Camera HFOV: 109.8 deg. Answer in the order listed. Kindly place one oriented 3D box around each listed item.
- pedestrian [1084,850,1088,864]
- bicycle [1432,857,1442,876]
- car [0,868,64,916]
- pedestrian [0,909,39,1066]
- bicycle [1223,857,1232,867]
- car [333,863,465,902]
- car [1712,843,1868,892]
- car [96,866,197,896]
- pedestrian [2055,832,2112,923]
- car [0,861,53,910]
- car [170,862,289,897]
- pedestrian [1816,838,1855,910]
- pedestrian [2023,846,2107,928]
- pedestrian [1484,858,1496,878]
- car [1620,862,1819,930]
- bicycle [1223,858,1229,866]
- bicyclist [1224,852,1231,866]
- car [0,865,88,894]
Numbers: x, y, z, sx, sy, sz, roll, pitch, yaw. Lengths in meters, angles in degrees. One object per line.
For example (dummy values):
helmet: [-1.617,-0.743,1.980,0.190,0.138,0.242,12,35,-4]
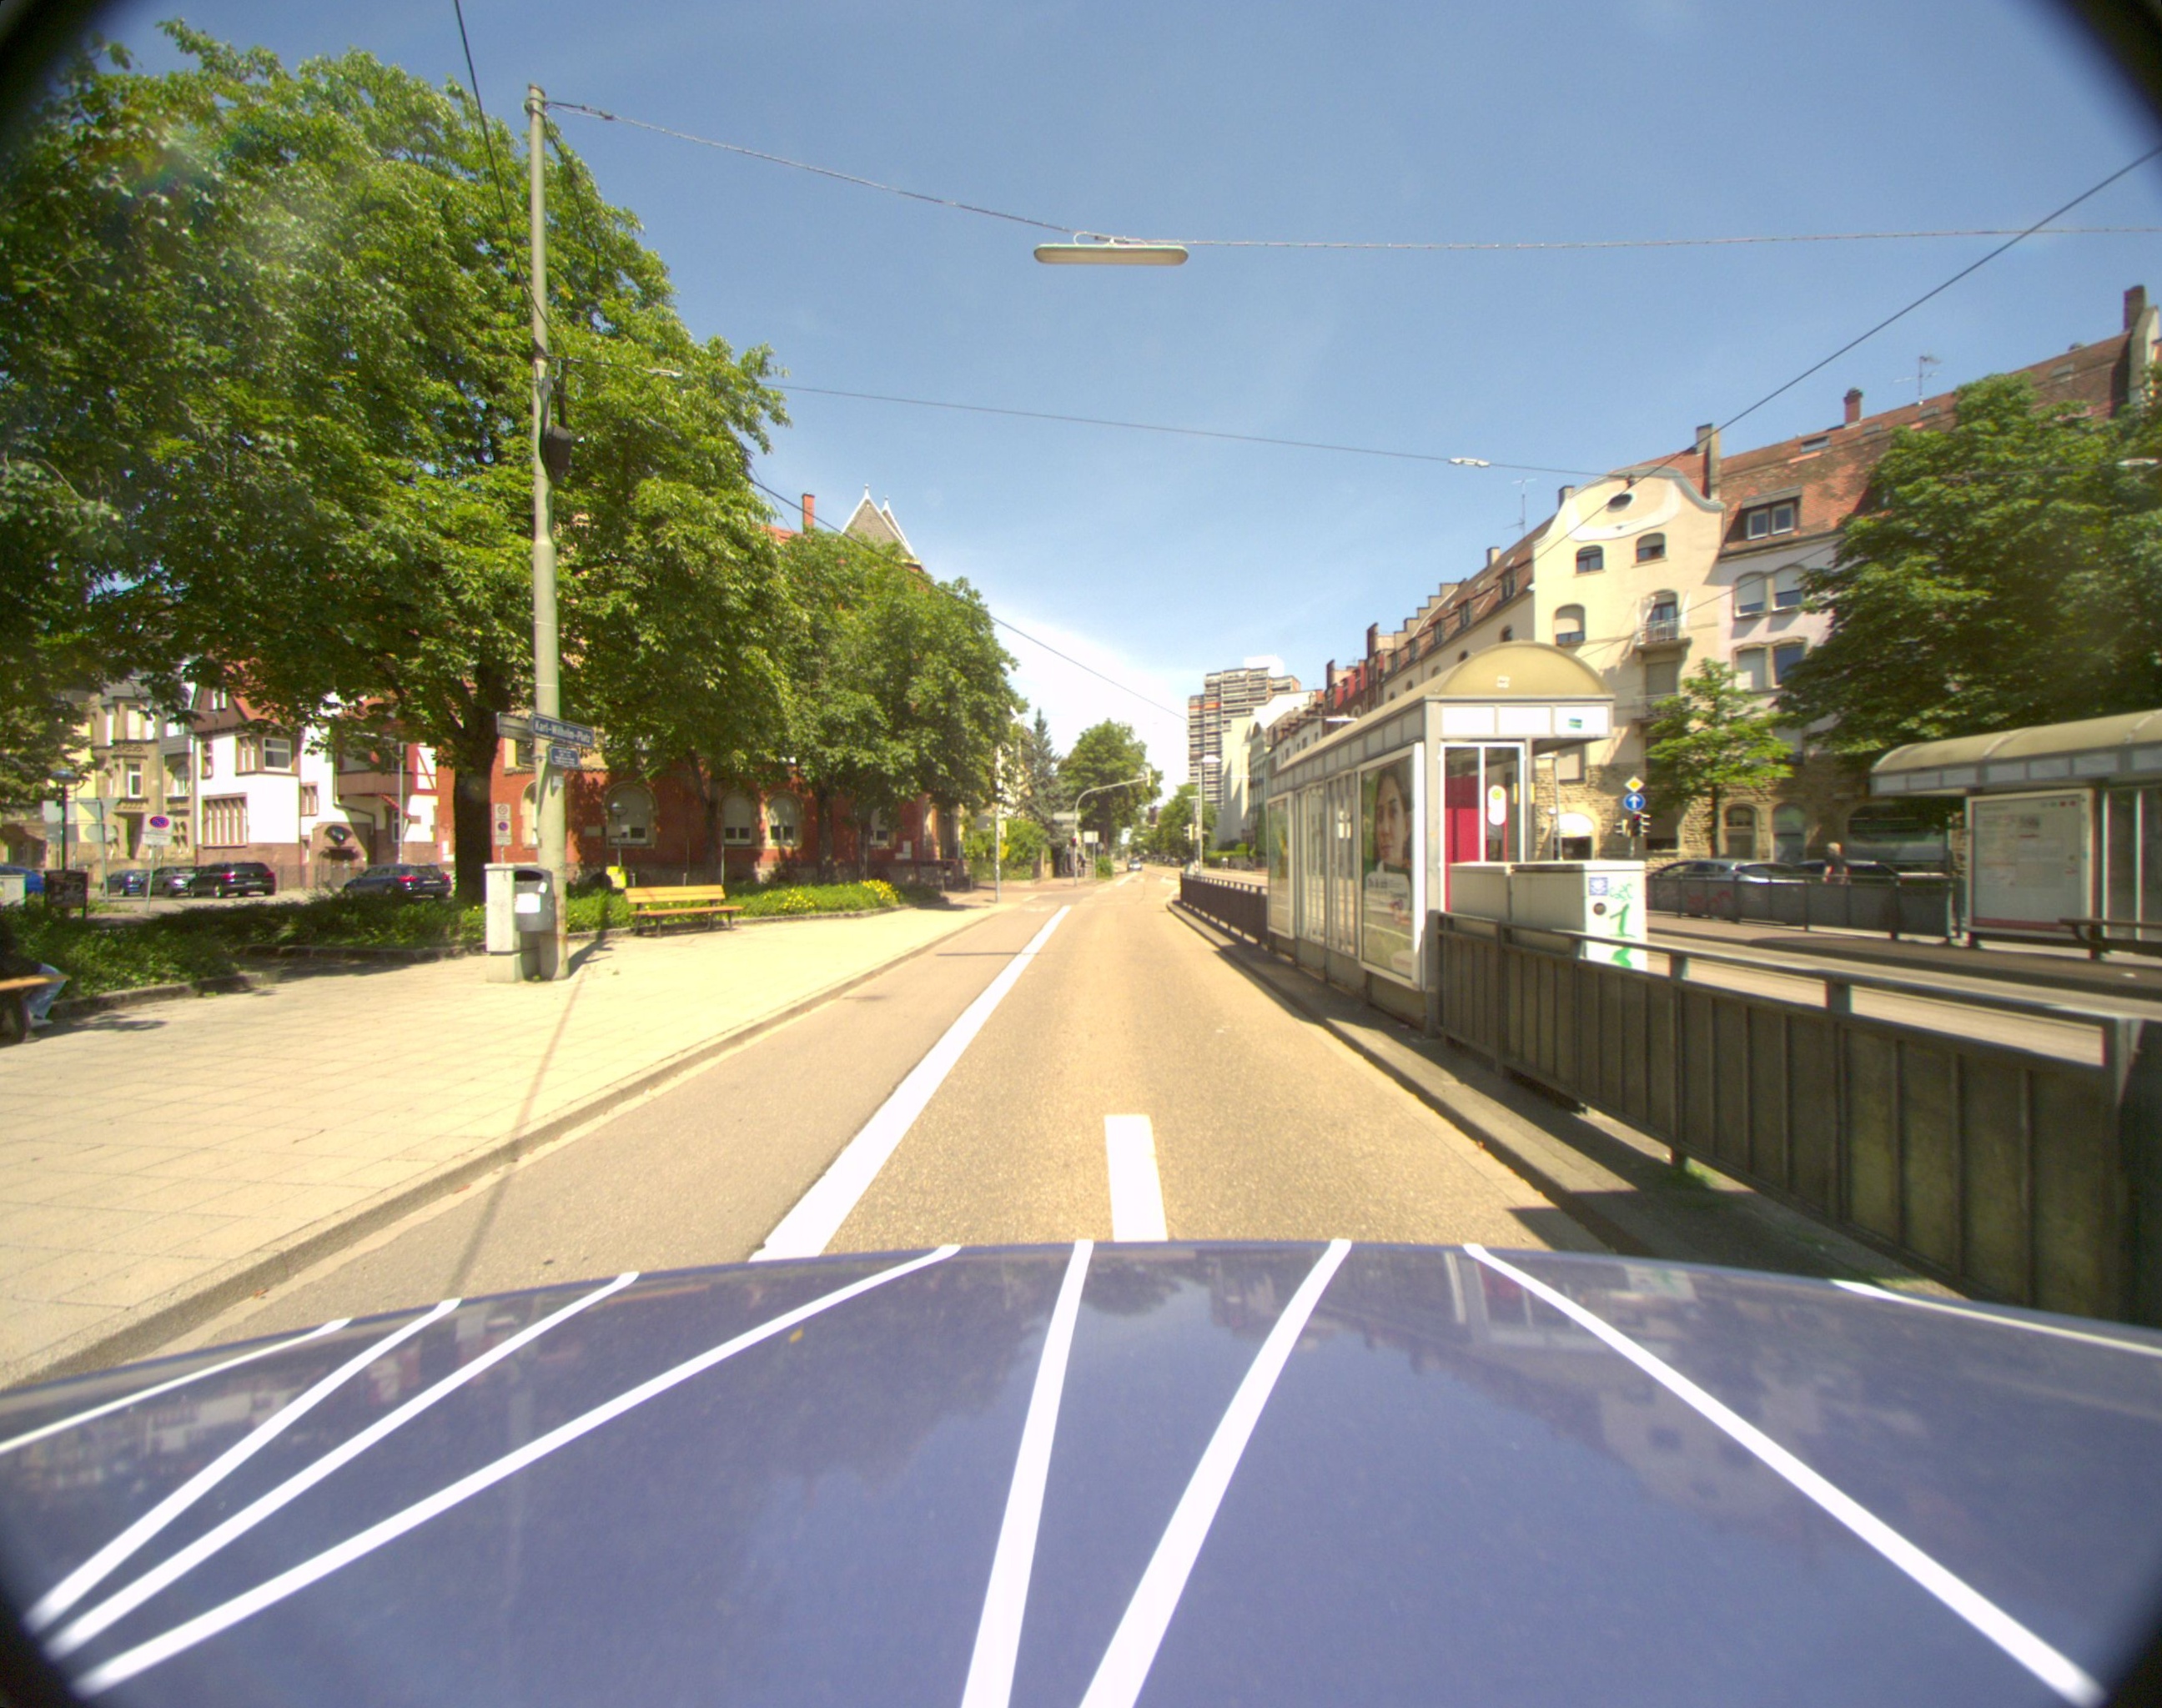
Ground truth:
pedestrian: [0.652,0.372,96.608,0.547,1.683,0.755,0,1,1]
bicycle: [23.143,0.794,49.405,0.454,1.218,2.083,-1,1,21]
car: [-32.896,1.119,21.939,1.723,1.421,3.895,-1,-1,20]
pedestrian: [-7.815,0.937,5.274,0.510,1.085,0.478,1,0,7]
bicycle: [16.407,0.886,85.171,0.629,1.150,1.978,-1,0,1]
car: [-27.226,1.122,30.335,4.748,1.433,1.908,-1,1,21]
car: [23.661,0.437,25.529,3.578,1.566,1.586,-1,1,29]
car: [-48.845,1.398,39.708,4.605,1.456,1.908,-1,1,21]
pedestrian: [20.948,0.479,15.888,0.511,1.868,0.494,-1,1,6]
car: [-37.298,1.060,24.708,1.723,1.642,4.273,-1,-1,20]
car: [-40.171,1.193,35.847,5.477,1.523,1.991,-1,1,22]
pedestrian: [19.458,0.507,19.592,0.511,1.812,0.494,-1,1,3]
pedestrian: [19.791,0.642,15.297,0.681,1.596,0.773,-1,1,-2]
pedestrian: [22.991,0.788,42.730,0.406,1.142,0.405,-1,1,-2]
car: [14.712,0.905,17.801,1.544,1.331,3.718,-1,1,0]
bicycle: [19.212,1.032,100.555,0.493,1.090,2.047,-1,0,1]
bicyclist: [16.402,0.529,85.071,0.609,1.565,0.585,-1,1,1]
car: [-59.591,1.477,43.632,4.391,1.547,1.908,-1,1,21]
